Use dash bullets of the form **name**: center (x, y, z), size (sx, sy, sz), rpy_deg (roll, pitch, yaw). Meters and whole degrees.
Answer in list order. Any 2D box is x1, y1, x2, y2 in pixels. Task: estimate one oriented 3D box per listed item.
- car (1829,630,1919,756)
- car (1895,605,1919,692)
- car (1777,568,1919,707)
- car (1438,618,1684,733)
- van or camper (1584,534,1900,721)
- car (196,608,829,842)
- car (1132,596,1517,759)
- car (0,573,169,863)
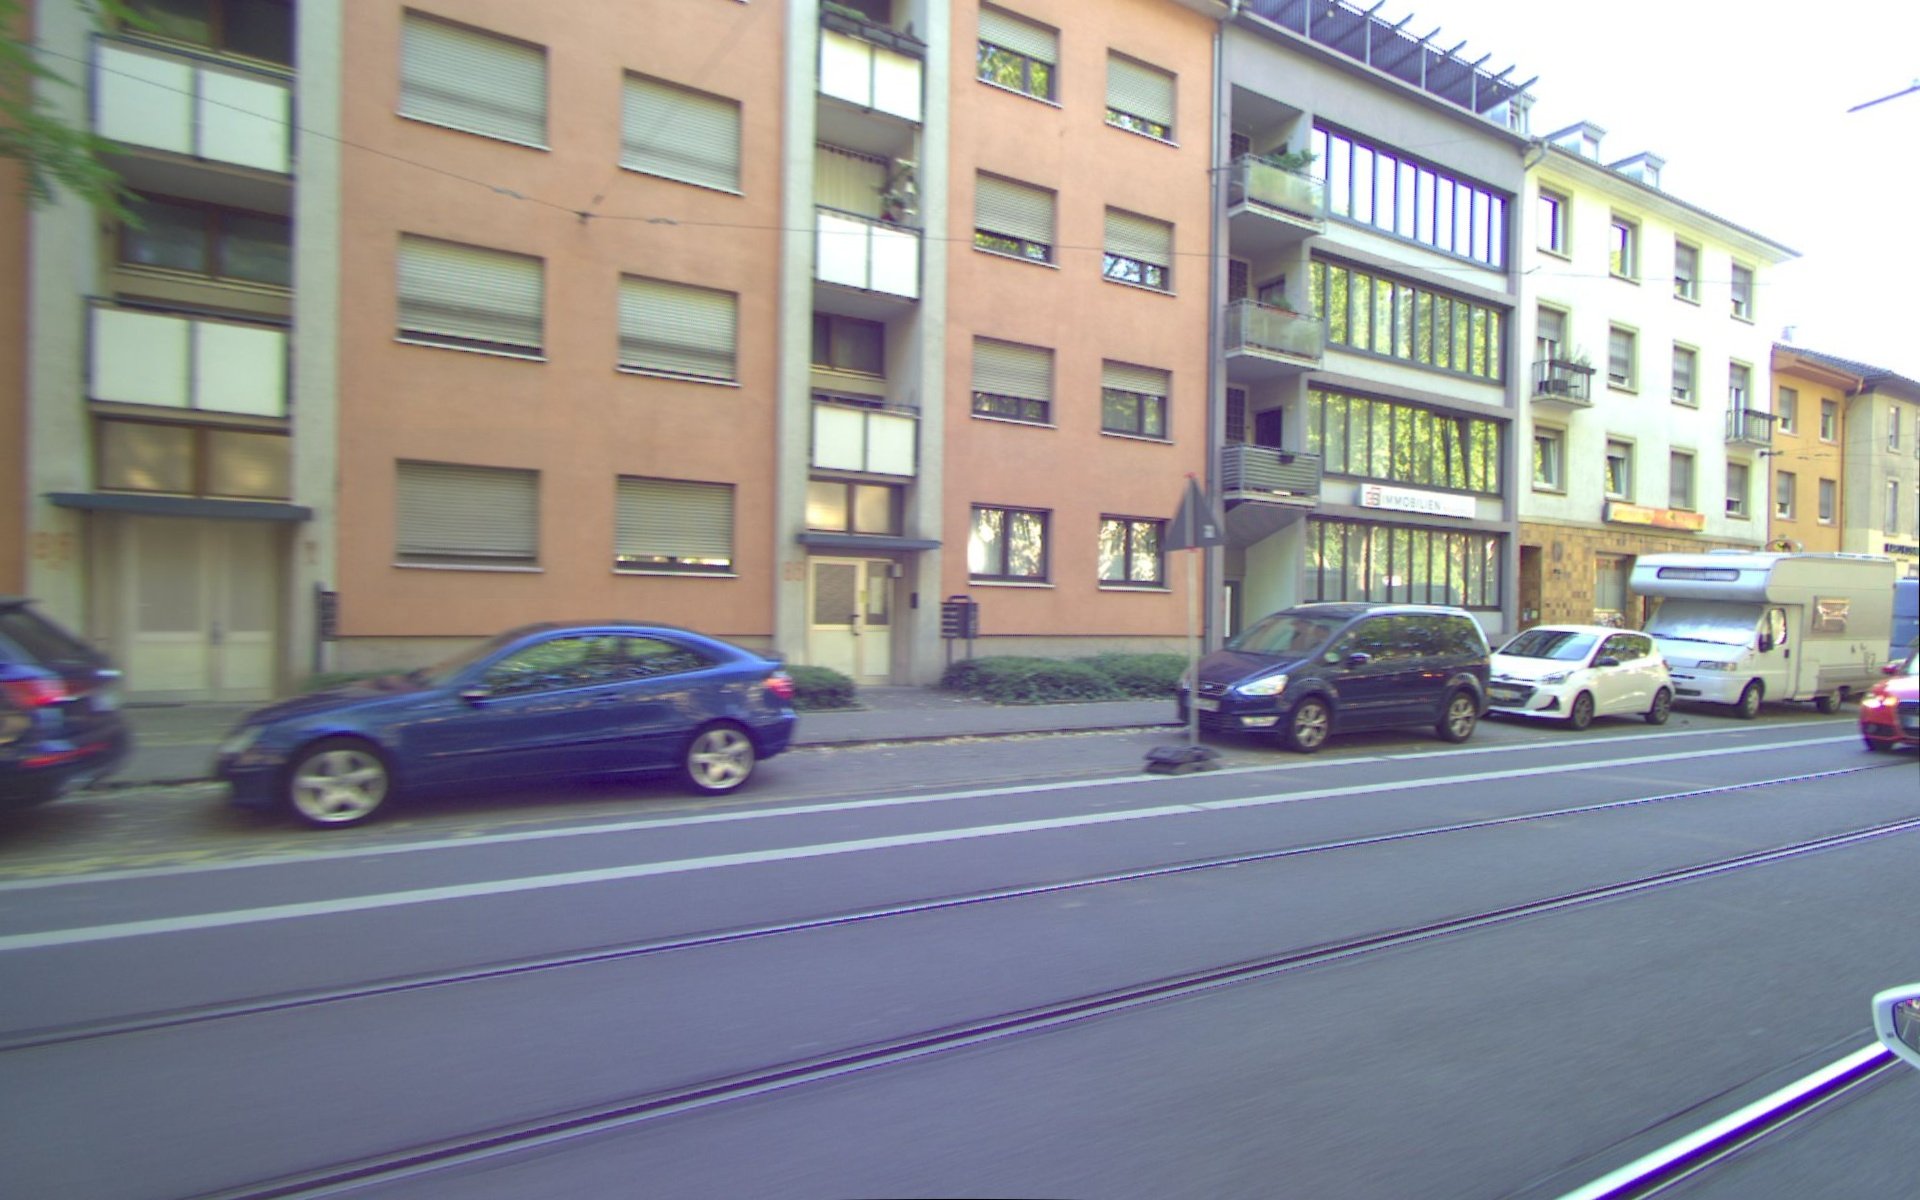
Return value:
- **car**: center (12.857, 1.112, 12.643), size (4.021, 1.456, 1.715), rpy_deg (1, -2, -30)
- **car**: center (26.018, 1.255, 25.521), size (5.190, 2.120, 1.941), rpy_deg (0, 3, -32)
- **car**: center (20.841, 0.786, 22.527), size (5.247, 2.768, 2.076), rpy_deg (1, 3, -30)
- **car**: center (9.538, 1.112, 15.889), size (3.818, 1.508, 1.701), rpy_deg (1, 2, -31)
- **van or camper**: center (14.937, 0.462, 19.087), size (6.320, 3.082, 2.327), rpy_deg (1, 3, -29)
- **car**: center (-3.426, 0.839, 8.248), size (4.333, 1.420, 1.729), rpy_deg (1, 2, -31)
- **car**: center (4.803, 0.881, 12.999), size (5.013, 1.709, 1.942), rpy_deg (1, 1, -31)
- **car**: center (-7.513, 0.647, 5.696), size (4.535, 1.632, 1.772), rpy_deg (1, 2, -31)
